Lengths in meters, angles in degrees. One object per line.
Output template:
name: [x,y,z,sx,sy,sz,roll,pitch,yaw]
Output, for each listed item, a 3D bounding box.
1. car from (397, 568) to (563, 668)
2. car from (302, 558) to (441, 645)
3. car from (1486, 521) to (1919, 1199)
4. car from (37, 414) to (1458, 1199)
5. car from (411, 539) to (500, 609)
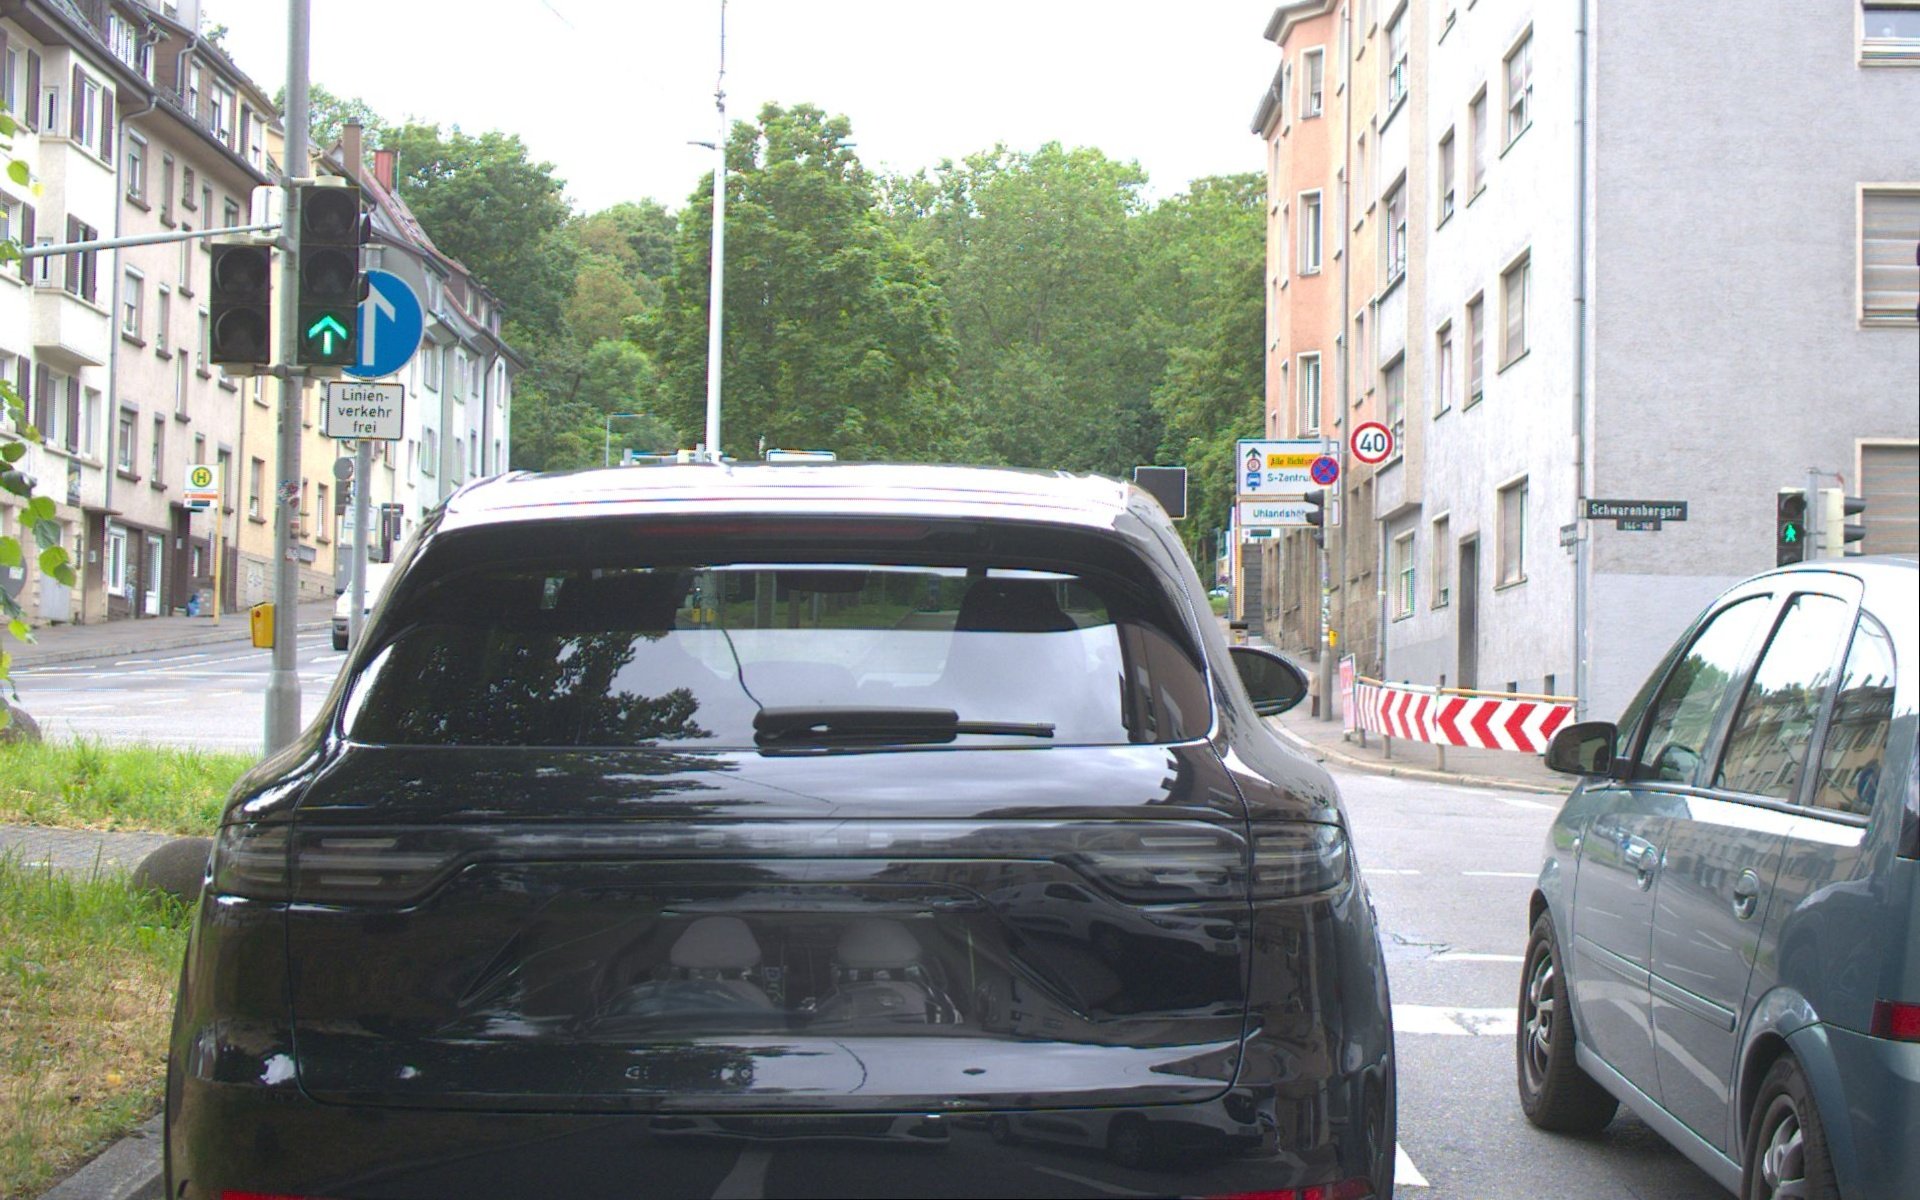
car: [-7.016,0.231,50.580,1.862,1.383,4.094,1,1,0]
car: [-10.389,0.045,60.940,1.619,1.475,3.823,1,-1,3]
car: [2.351,0.693,7.746,1.628,1.592,3.669,4,1,-1]
car: [-0.315,0.560,6.740,1.955,1.669,4.000,0,1,-1]
car: [-15.294,-0.799,104.414,2.016,2.038,4.667,1,1,0]
